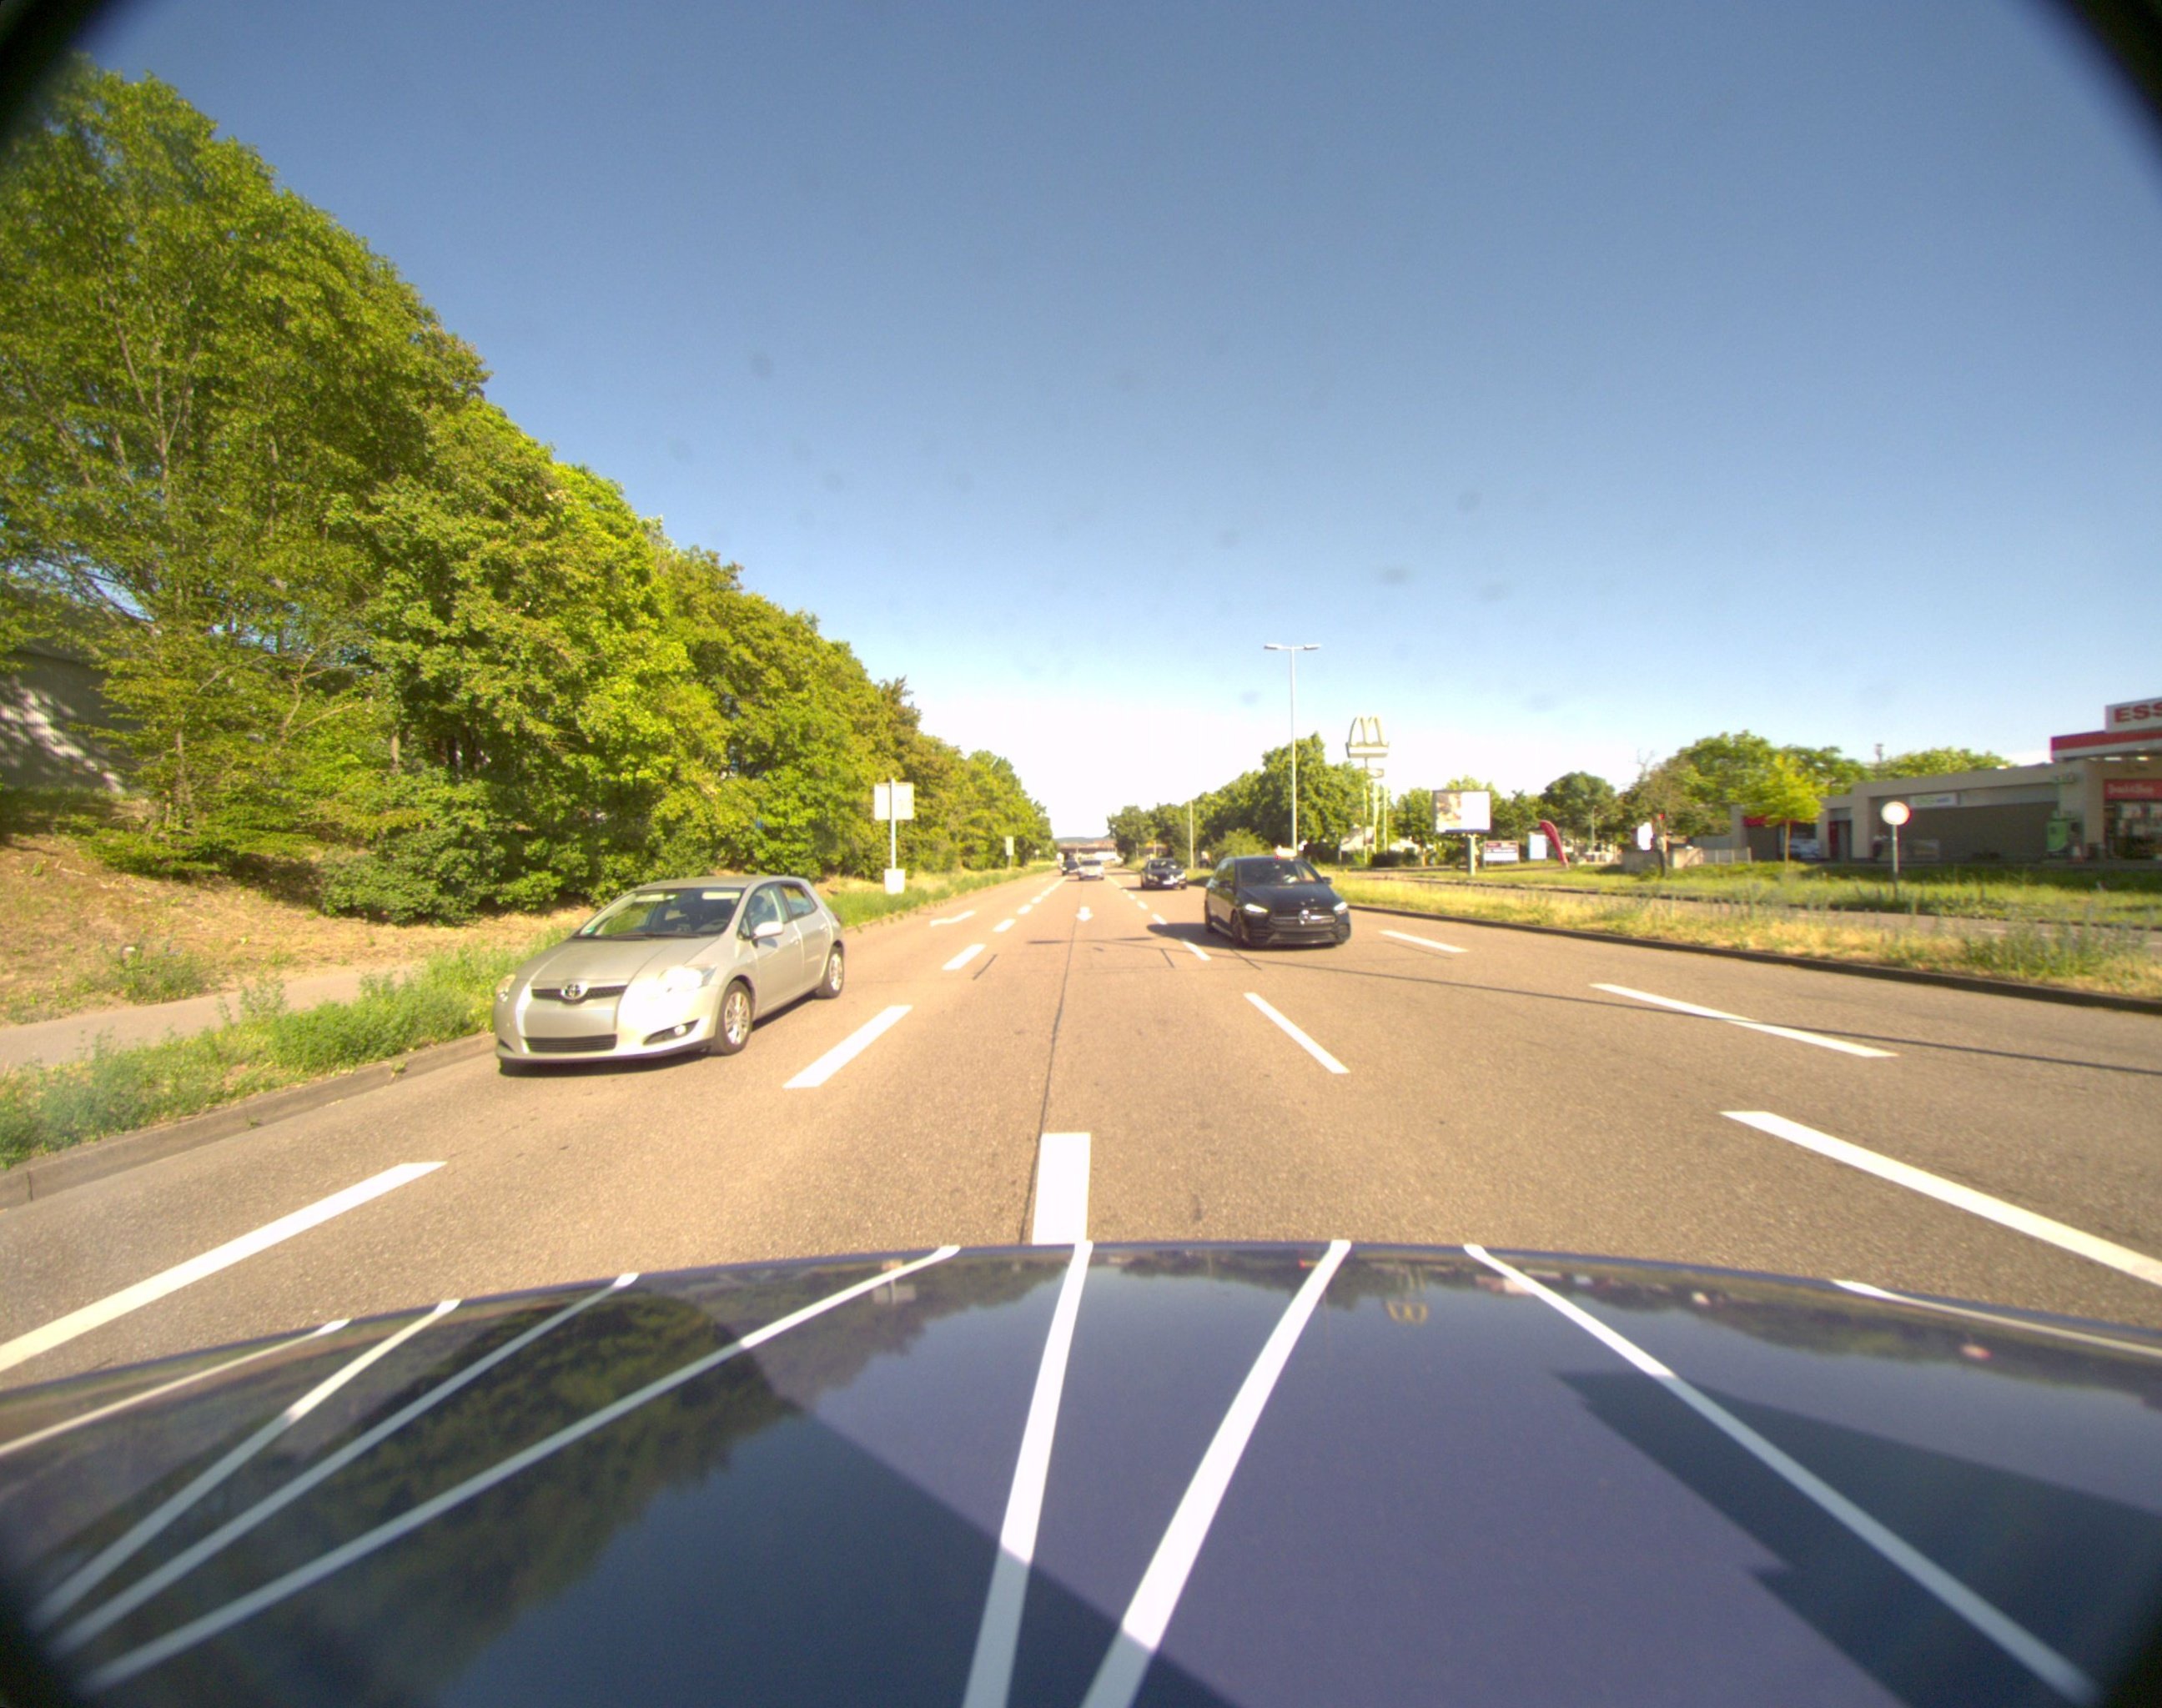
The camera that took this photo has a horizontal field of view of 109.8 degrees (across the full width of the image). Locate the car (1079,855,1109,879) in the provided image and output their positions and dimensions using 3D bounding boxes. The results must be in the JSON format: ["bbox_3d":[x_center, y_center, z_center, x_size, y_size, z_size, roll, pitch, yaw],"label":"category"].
[{"bbox_3d":[0.938,0.924,54.816,2.025,1.601,4.098,-2,0,1],"label":"car"}]

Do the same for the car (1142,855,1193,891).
[{"bbox_3d":[4.046,0.846,36.301,1.953,1.501,4.462,-2,1,1],"label":"car"}]

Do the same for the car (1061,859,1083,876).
[{"bbox_3d":[-0.917,1.331,76.732,2.036,1.601,4.098,-2,0,1],"label":"car"}]

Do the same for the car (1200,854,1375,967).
[{"bbox_3d":[3.366,0.821,13.359,1.788,1.592,4.583,-2,0,0],"label":"car"}]

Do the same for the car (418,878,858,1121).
[{"bbox_3d":[-3.732,1.091,7.420,1.788,1.528,4.108,-2,0,1],"label":"car"}]

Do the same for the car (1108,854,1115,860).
[{"bbox_3d":[8.552,0.824,211.719,1.998,1.433,4.000,-1,0,1],"label":"car"}]
